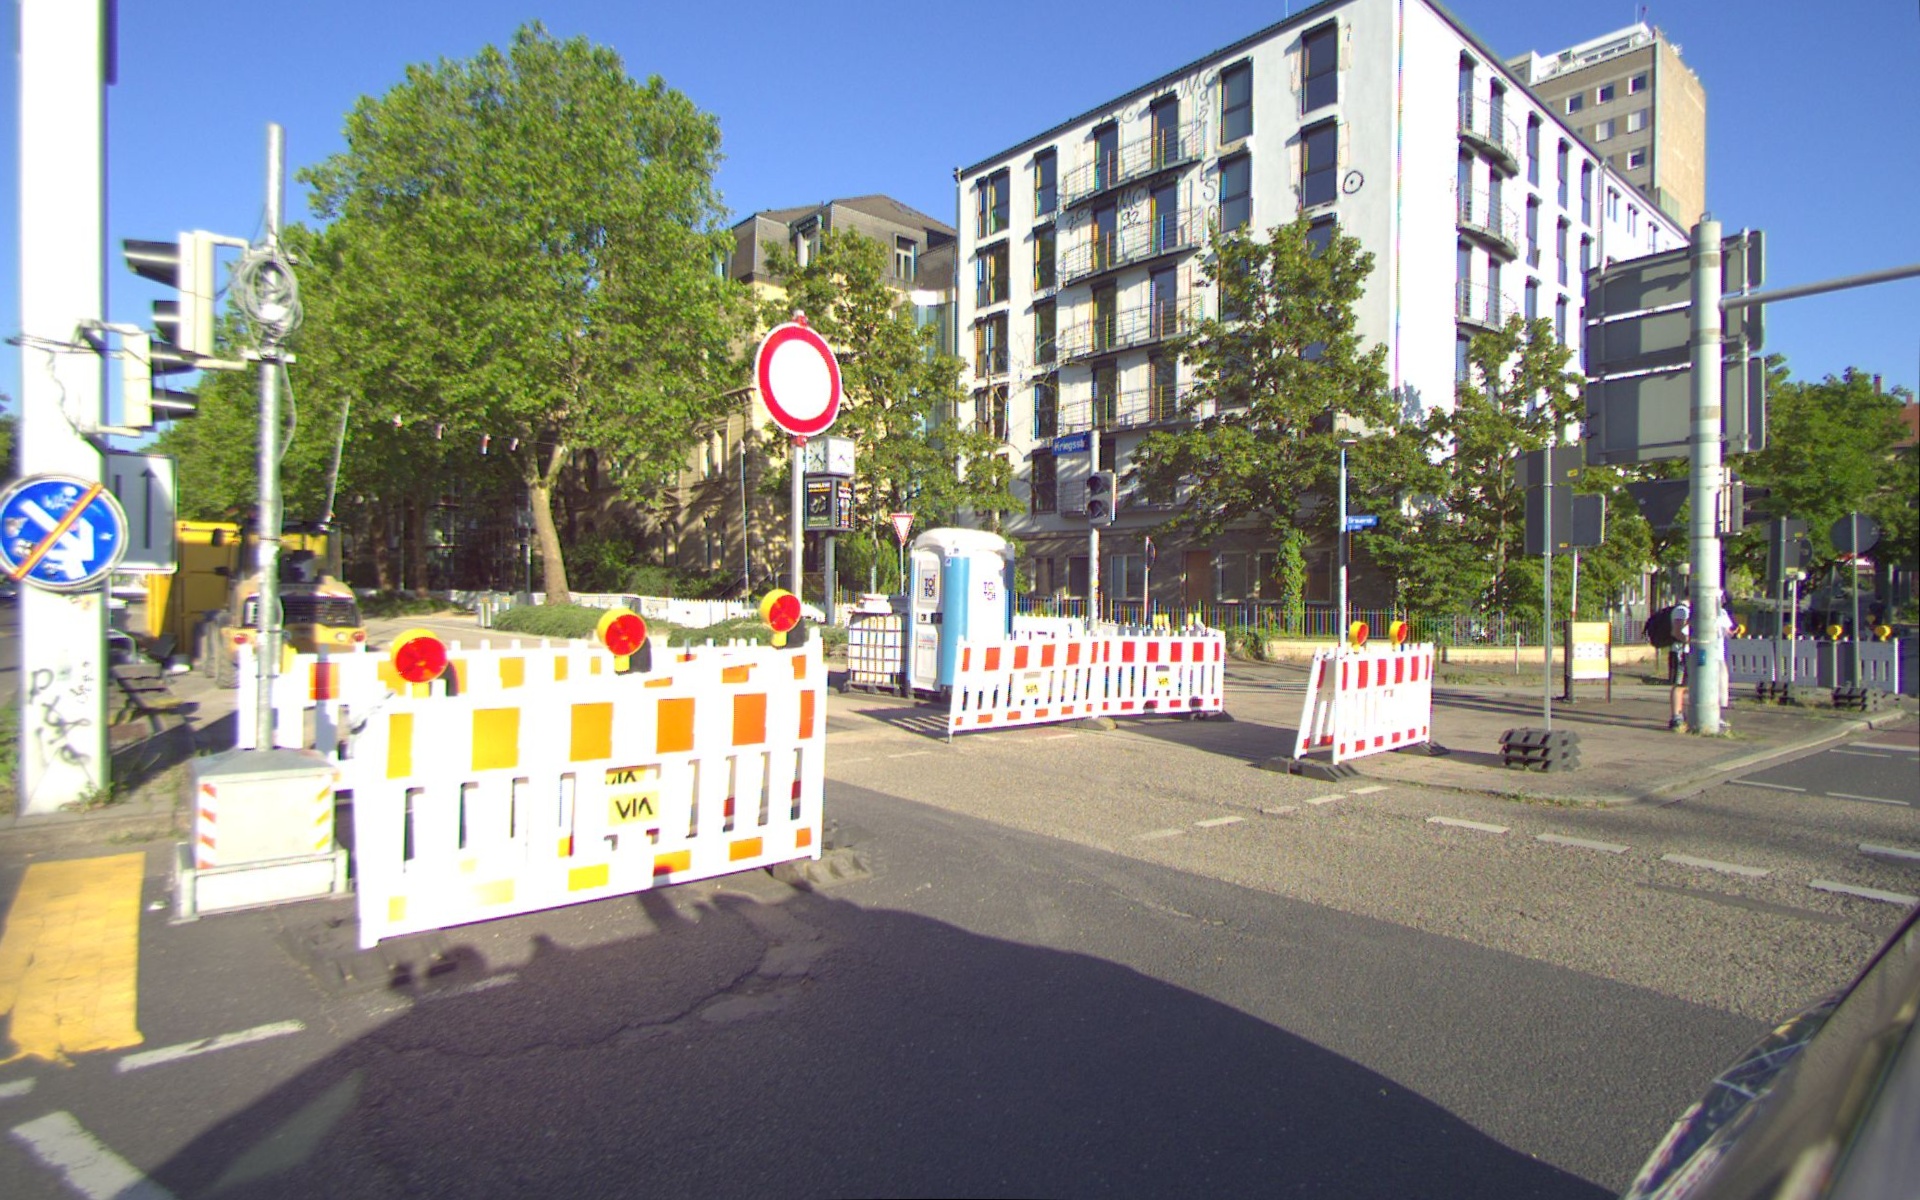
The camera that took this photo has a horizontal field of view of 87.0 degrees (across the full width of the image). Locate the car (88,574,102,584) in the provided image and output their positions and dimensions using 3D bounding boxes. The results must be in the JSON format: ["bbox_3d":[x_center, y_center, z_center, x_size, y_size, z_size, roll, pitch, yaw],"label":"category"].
[{"bbox_3d":[-152.065,-3.683,177.905,1.740,1.727,3.993,0,1,-41],"label":"car"}]

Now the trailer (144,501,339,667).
[{"bbox_3d":[-14.925,-0.319,20.840,2.499,2.904,6.116,0,1,-43],"label":"trailer"}]

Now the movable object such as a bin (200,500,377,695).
[{"bbox_3d":[-10.916,-0.071,16.260,1.964,2.626,5.211,0,1,-38],"label":"movable object such as a bin"}]

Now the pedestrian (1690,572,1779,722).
[{"bbox_3d":[10.044,0.600,13.141,0.696,1.901,0.578,0,0,-4],"label":"pedestrian"}]

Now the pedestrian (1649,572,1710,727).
[{"bbox_3d":[9.063,0.598,12.764,0.494,1.901,0.597,0,0,23],"label":"pedestrian"}]

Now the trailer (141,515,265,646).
[{"bbox_3d":[-20.140,-0.496,26.783,2.364,3.053,6.123,0,1,-39],"label":"trailer"}]
